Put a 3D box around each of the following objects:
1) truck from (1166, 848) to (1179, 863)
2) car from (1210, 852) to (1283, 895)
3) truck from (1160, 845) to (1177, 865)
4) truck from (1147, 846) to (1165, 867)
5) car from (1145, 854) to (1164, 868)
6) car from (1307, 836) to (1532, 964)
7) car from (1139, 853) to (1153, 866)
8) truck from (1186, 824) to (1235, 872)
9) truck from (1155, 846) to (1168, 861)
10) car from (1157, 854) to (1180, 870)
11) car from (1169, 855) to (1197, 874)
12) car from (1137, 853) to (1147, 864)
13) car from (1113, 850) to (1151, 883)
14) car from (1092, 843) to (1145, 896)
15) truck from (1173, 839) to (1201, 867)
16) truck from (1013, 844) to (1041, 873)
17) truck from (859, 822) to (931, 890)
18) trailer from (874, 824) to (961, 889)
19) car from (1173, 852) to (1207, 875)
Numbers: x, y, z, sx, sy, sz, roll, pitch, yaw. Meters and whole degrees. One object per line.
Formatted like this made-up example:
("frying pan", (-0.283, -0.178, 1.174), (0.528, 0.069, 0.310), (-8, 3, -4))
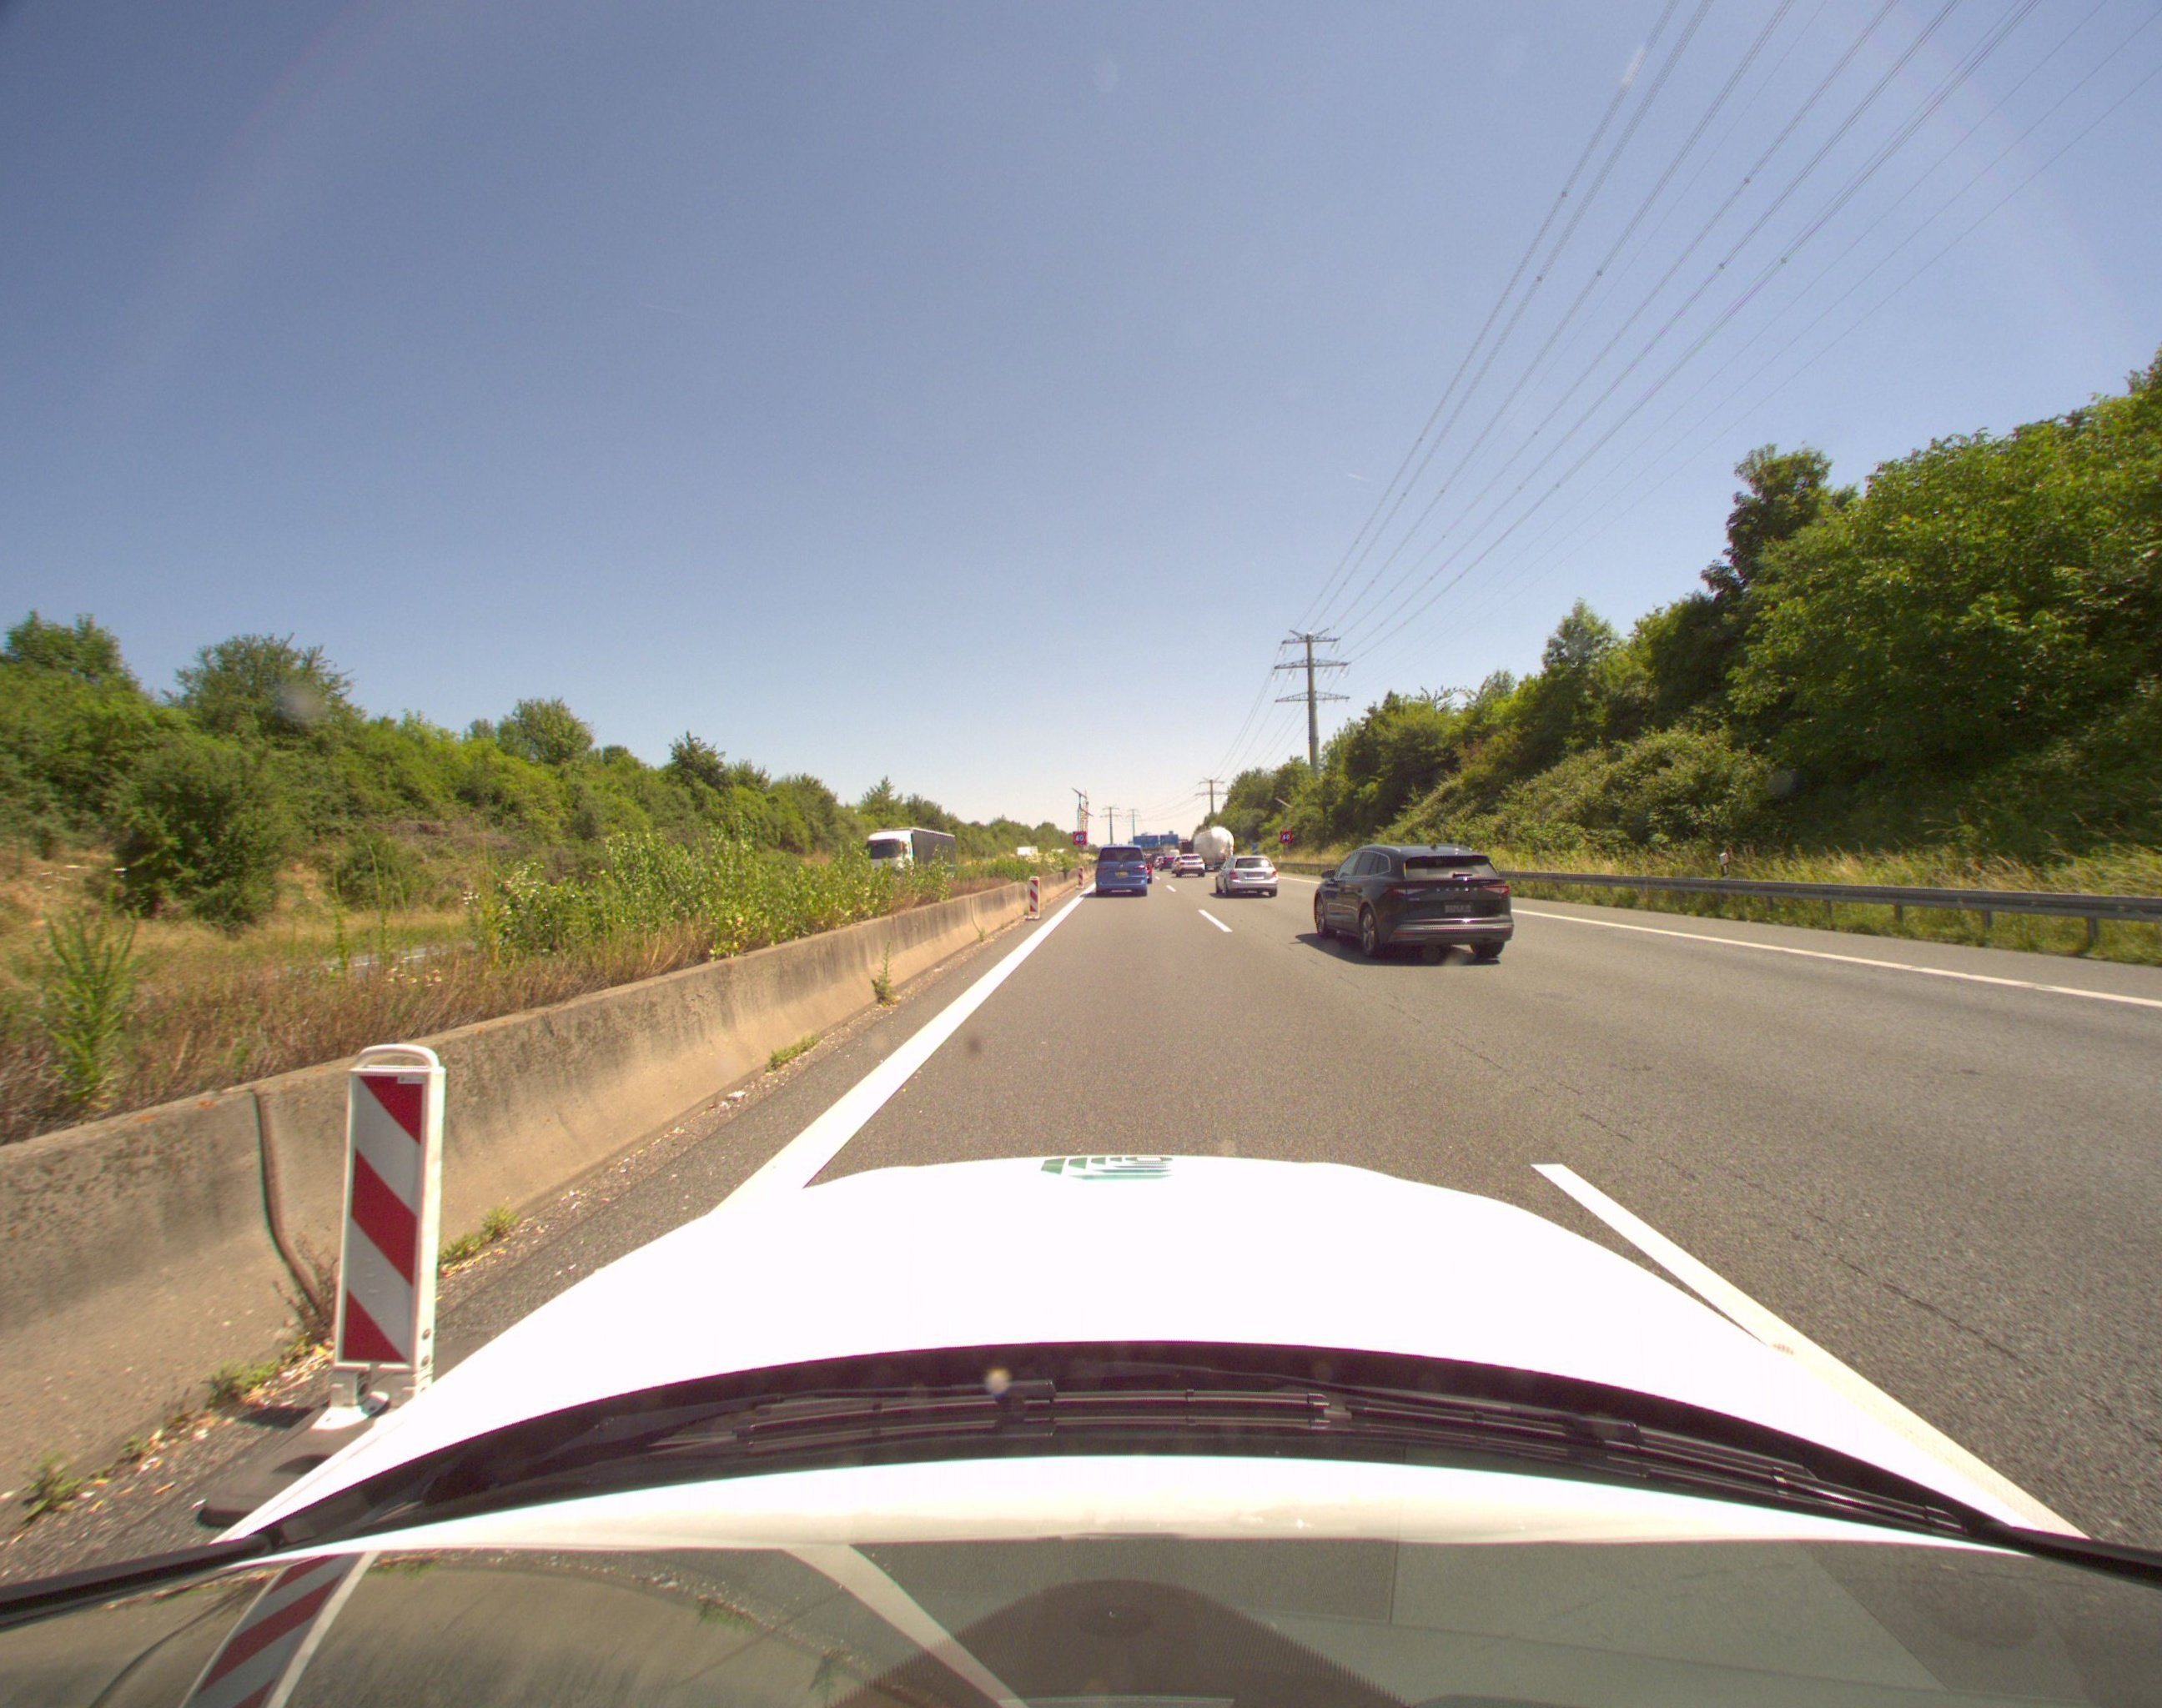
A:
("truck", (16.386, 0.246, 145.732), (1.986, 2.723, 5.683), (0, 0, 2))
("car", (5.830, 0.655, 29.121), (1.814, 1.437, 4.385), (0, 0, 1))
("truck", (18.871, 0.225, 176.147), (2.926, 4.291, 12.559), (0, 0, 2))
("truck", (9.650, 0.329, 104.964), (1.986, 2.723, 5.683), (0, 0, 2))
("car", (8.360, 0.827, 92.834), (1.901, 1.516, 4.385), (0, 0, 1))
("car", (4.967, 0.589, 12.707), (1.821, 1.614, 4.433), (-1, 0, 2))
("car", (10.141, 0.881, 127.874), (1.986, 2.014, 4.002), (0, 0, 2))
("truck", (11.971, -0.492, 76.833), (2.634, 4.072, 16.450), (0, 0, 2))
("truck", (23.100, -0.128, 233.875), (2.926, 4.291, 12.559), (0, 0, 2))
("car", (8.517, 0.733, 79.633), (1.901, 1.516, 4.385), (0, 0, 1))
("car", (8.365, 0.841, 66.968), (1.901, 1.569, 4.385), (0, 0, 1))
("car", (11.369, 0.830, 151.908), (1.985, 2.014, 4.004), (0, 0, 4))
("car", (2.712, 0.637, 43.852), (1.901, 1.631, 4.386), (-1, 0, 2))
("car", (1.396, 0.556, 31.179), (1.864, 1.879, 4.384), (0, 0, 1))
("truck", (14.239, -0.075, 109.787), (2.634, 3.539, 12.559), (0, 0, 2))
("truck", (-7.935, 0.610, 120.969), (2.751, 3.888, 9.036), (-5, 0, 3))
("truck", (-12.433, 0.136, 55.079), (2.740, 4.166, 6.416), (-5, 0, 3))
("trailer", (-12.075, 0.161, 61.964), (2.741, 4.166, 14.207), (-5, 0, 3))
("car", (7.342, 0.654, 55.302), (1.901, 1.508, 3.923), (0, 0, 1))
